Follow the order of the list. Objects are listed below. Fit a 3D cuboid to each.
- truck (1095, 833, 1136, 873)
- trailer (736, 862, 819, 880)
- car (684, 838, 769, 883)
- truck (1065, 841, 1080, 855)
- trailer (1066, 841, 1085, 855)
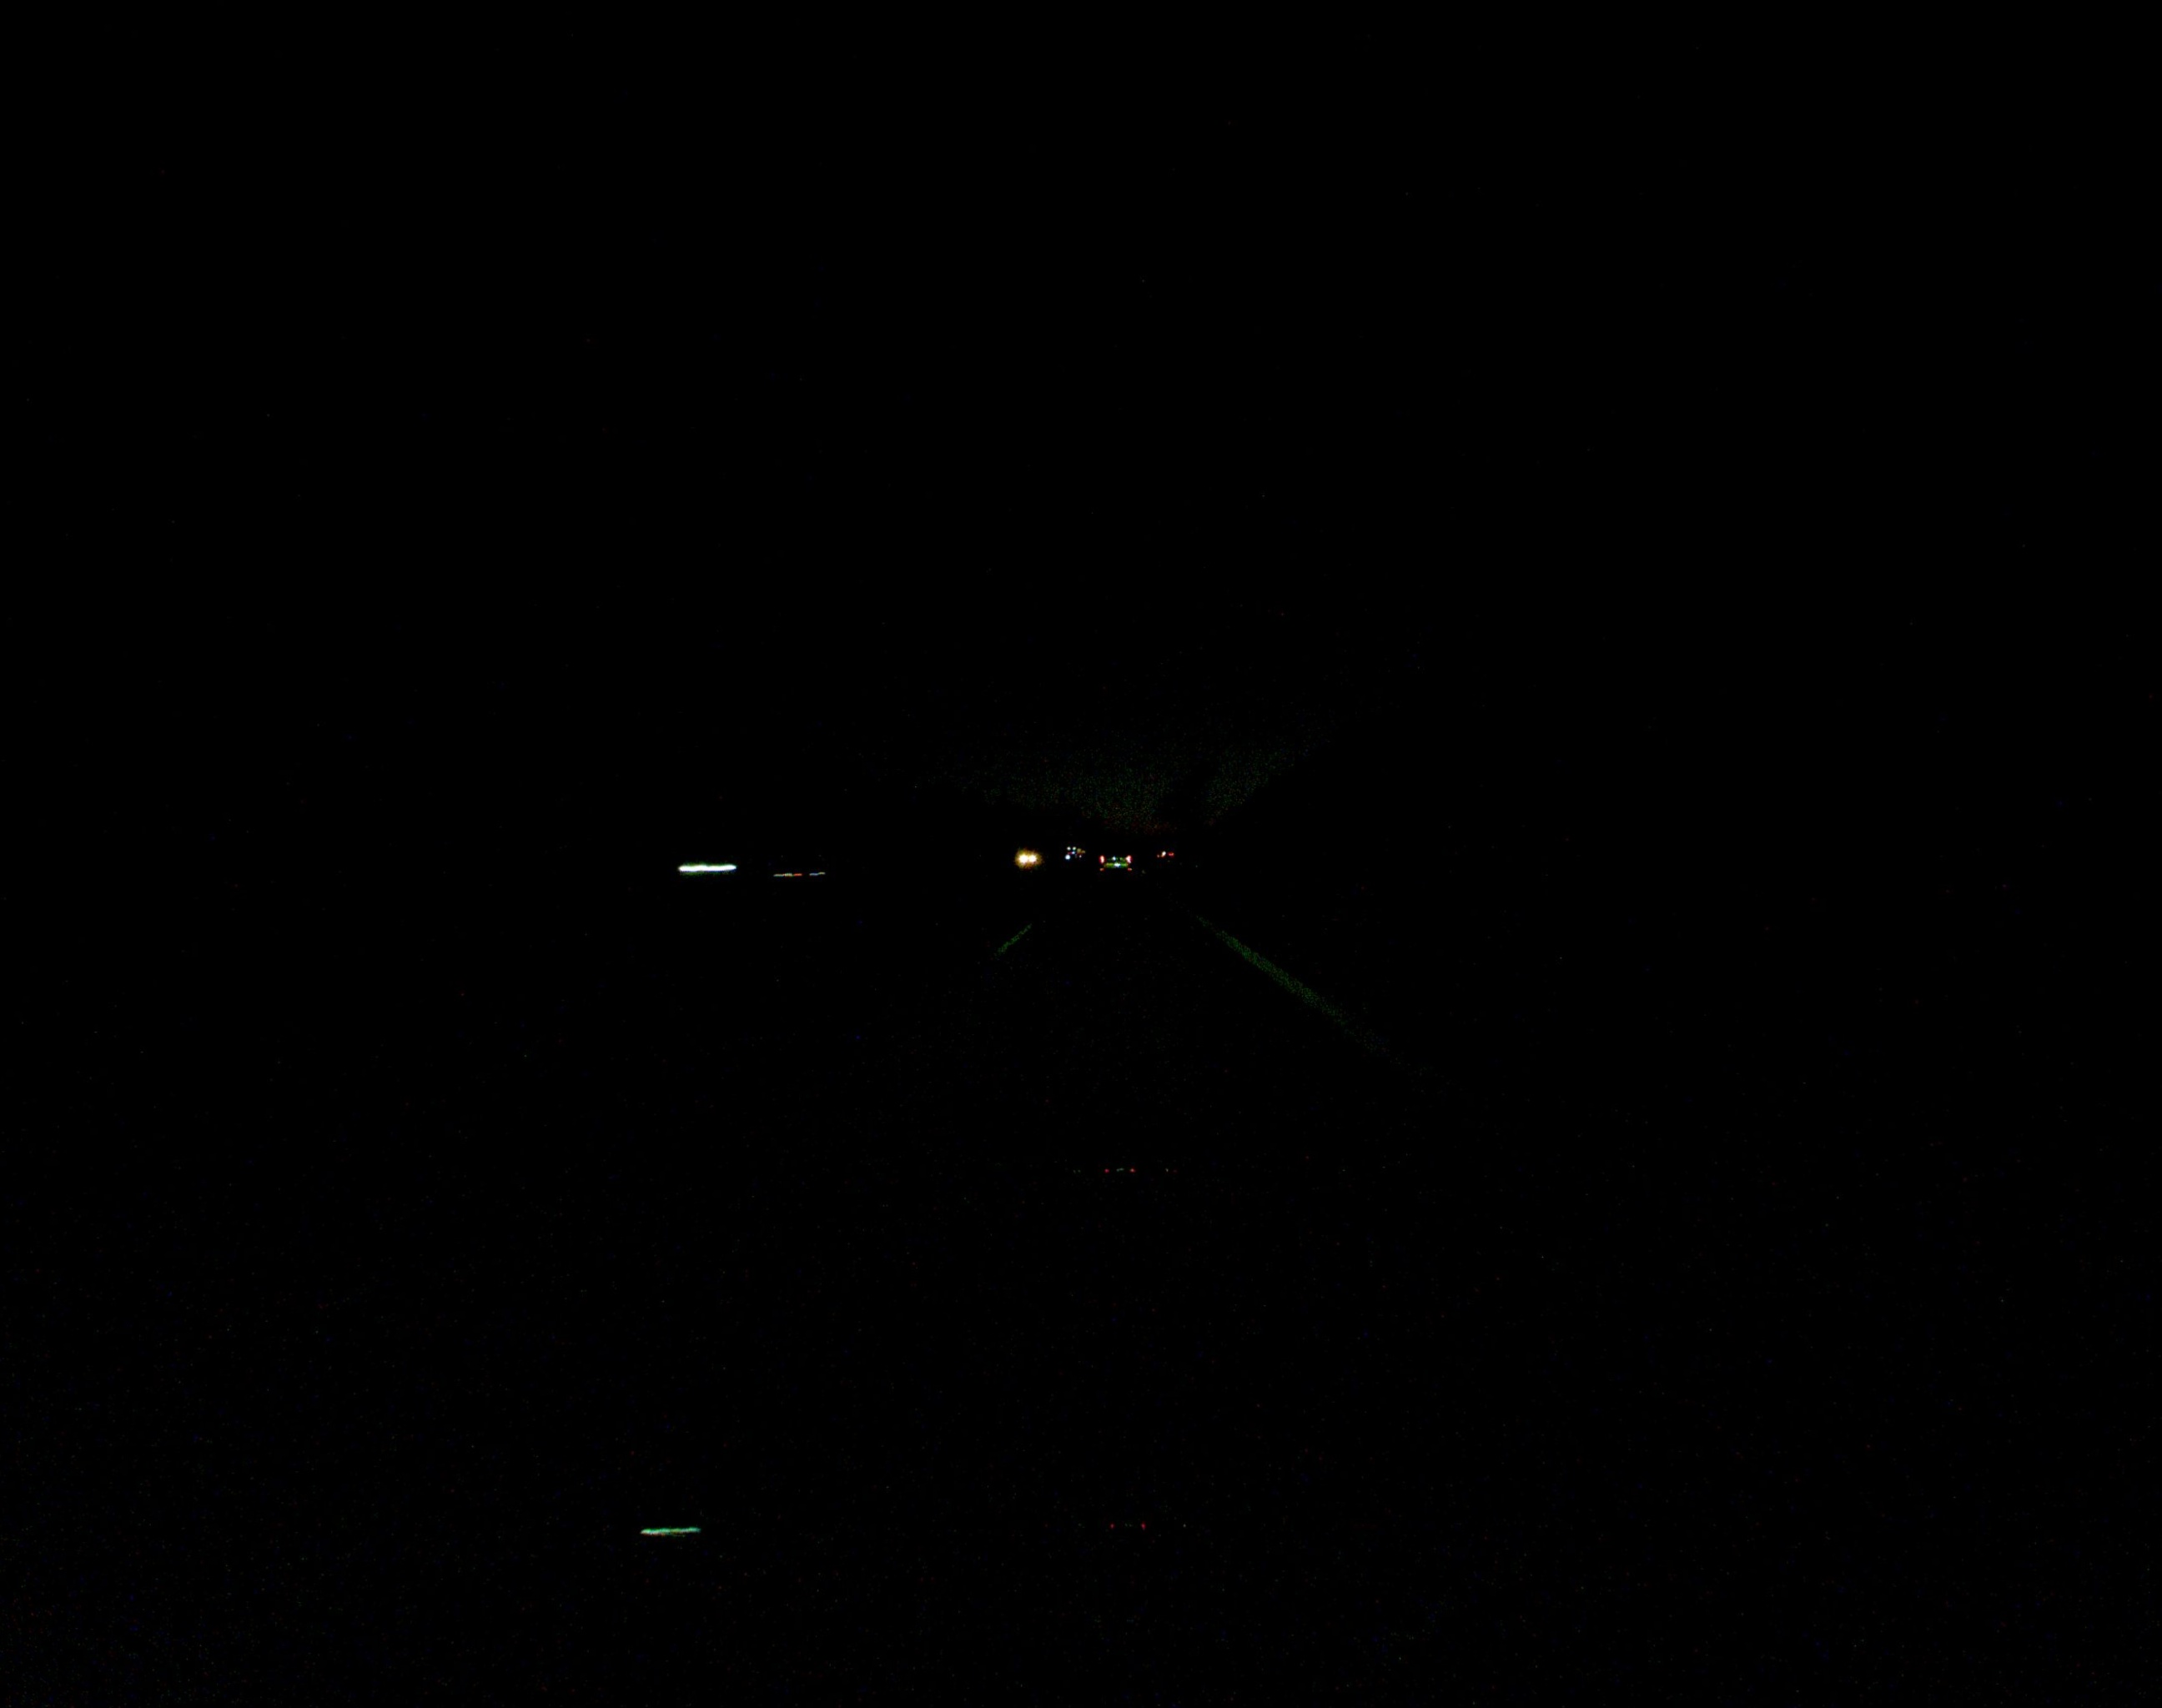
[{"bbox_3d":[2.392,-0.053,58.708,2.621,2.624,8.685,-1,0,1],"label":"truck"},{"bbox_3d":[-20.669,1.108,56.019,2.405,1.104,8.081,-1,0,2],"label":"trailer"},{"bbox_3d":[-21.108,0.378,48.874,2.073,2.487,6.247,-1,0,3],"label":"car"},{"bbox_3d":[-2.334,-1.698,234.299,3.484,3.970,6.711,-1,0,6],"label":"truck"},{"bbox_3d":[-1.537,-1.721,241.928,3.525,4.000,17.310,-1,0,6],"label":"trailer"}]
